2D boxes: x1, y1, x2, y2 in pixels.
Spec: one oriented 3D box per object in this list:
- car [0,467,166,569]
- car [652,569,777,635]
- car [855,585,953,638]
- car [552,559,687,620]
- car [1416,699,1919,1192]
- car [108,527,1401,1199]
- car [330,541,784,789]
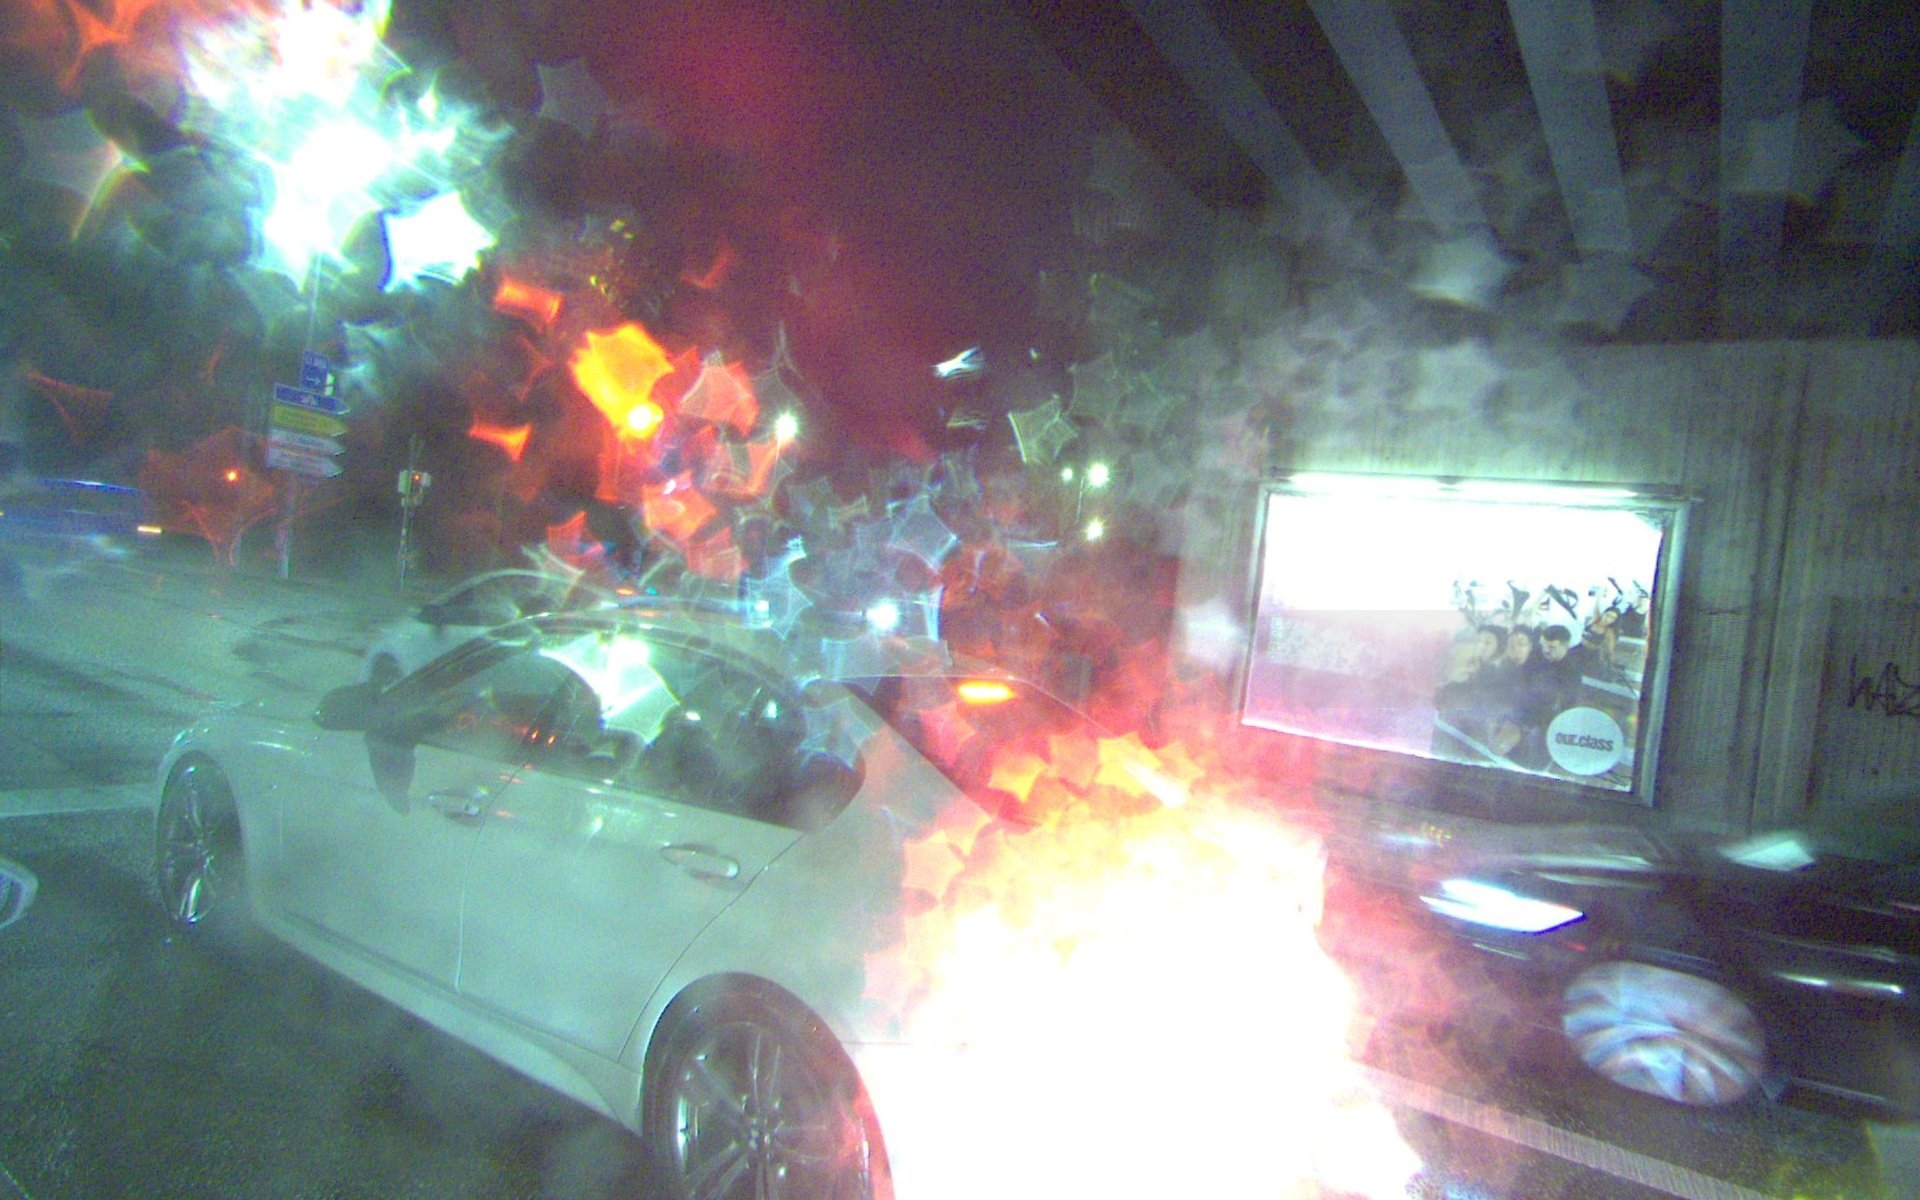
[{"bbox_3d":[-20.818,-1.935,22.353,1.828,1.769,4.502,6,-2,30],"label":"car"},{"bbox_3d":[-10.513,0.117,43.450,2.108,2.169,4.918,6,-2,35],"label":"car"},{"bbox_3d":[-2.700,0.607,49.725,1.968,2.008,5.096,7,-1,35],"label":"car"},{"bbox_3d":[-12.109,-0.342,35.952,1.885,1.605,4.069,3,-5,39],"label":"car"},{"bbox_3d":[4.302,1.439,3.811,4.486,1.406,1.757,7,-1,28],"label":"car"},{"bbox_3d":[-0.961,0.706,3.503,4.277,1.420,1.720,6,-2,32],"label":"car"},{"bbox_3d":[-3.438,0.469,8.454,3.534,1.476,1.637,6,-2,32],"label":"car"}]
